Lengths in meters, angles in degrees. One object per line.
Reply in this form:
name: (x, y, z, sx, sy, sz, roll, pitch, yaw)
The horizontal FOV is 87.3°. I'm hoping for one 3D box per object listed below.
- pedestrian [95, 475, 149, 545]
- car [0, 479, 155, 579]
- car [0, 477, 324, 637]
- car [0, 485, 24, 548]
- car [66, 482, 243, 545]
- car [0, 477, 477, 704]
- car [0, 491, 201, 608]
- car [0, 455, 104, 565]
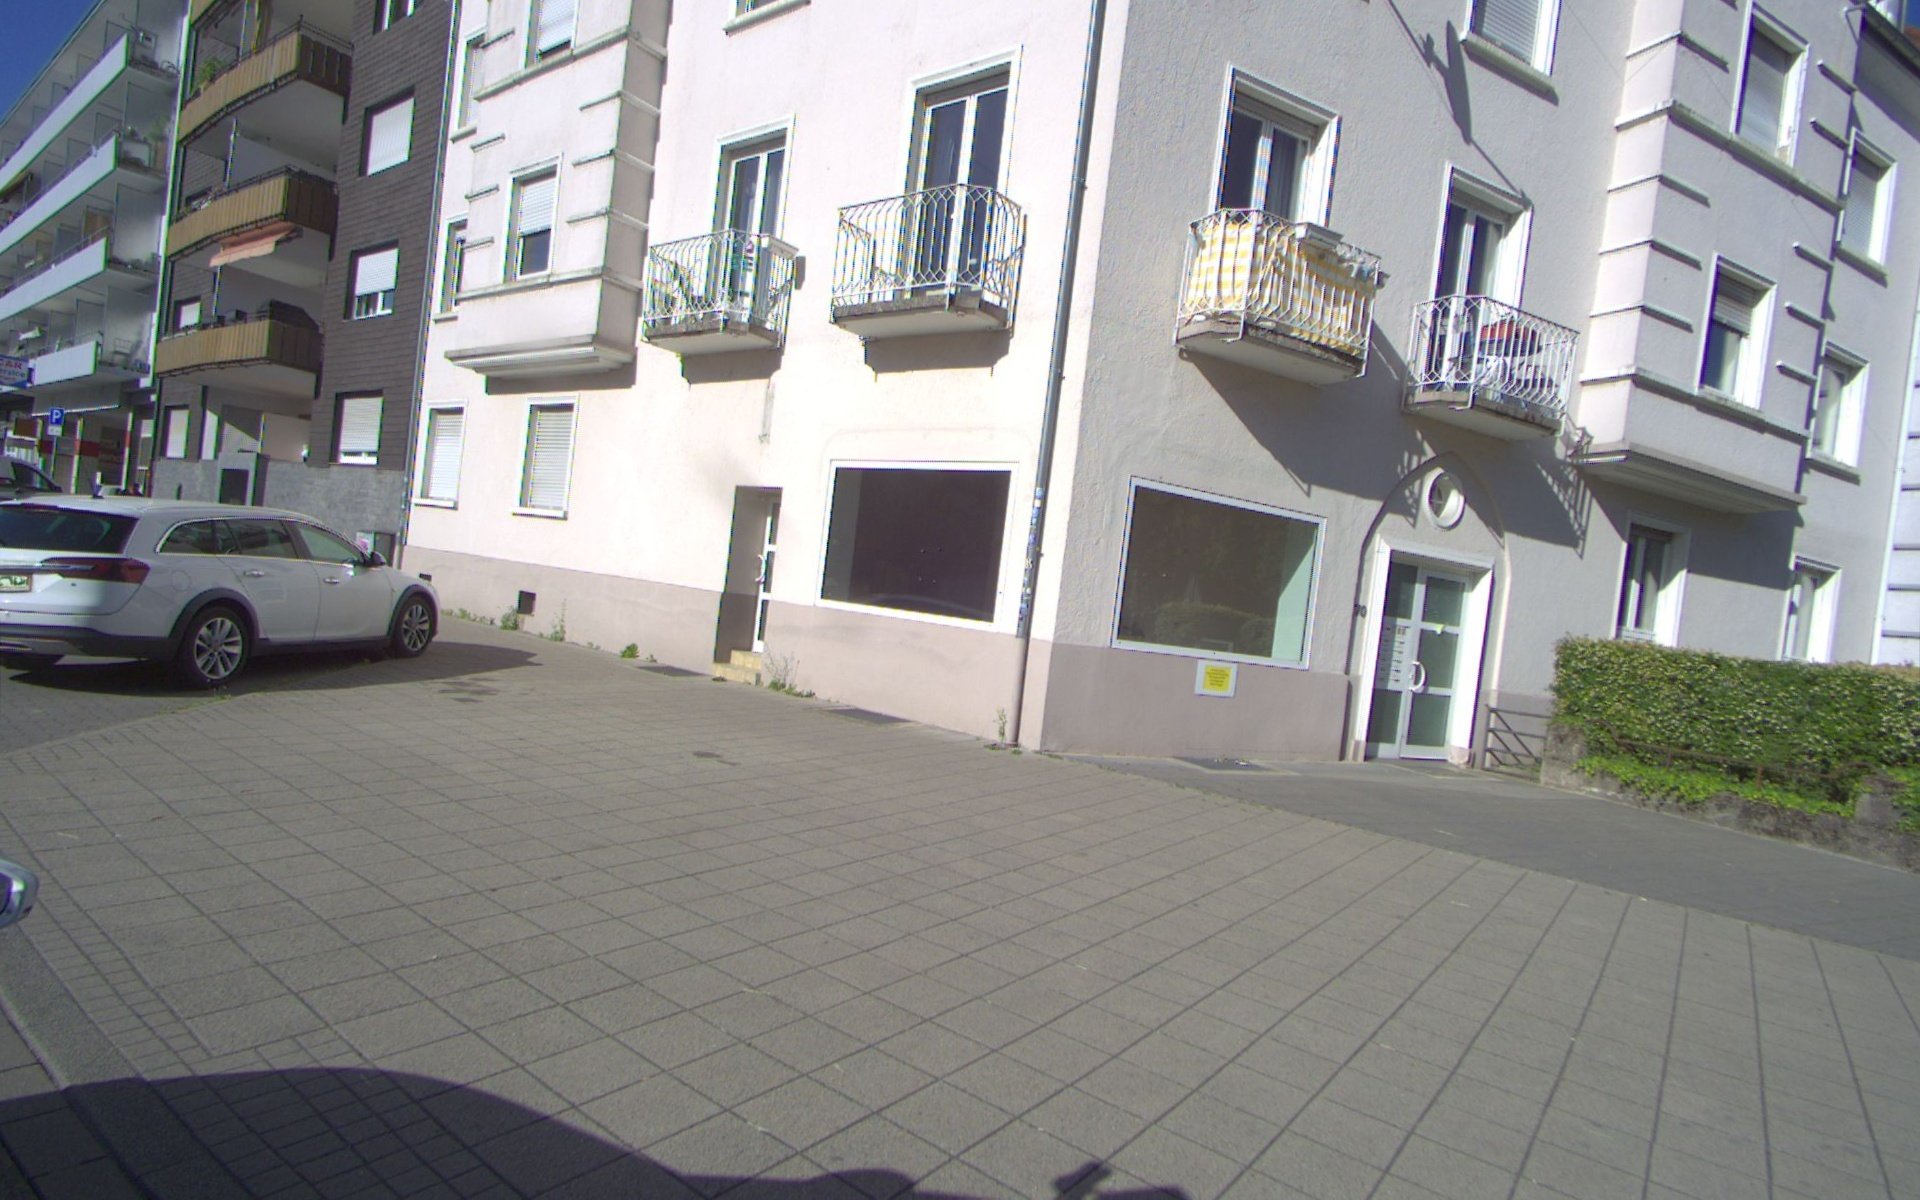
pedestrian: (-20.901, -2.238, 25.088, 0.877, 1.614, 0.830, 7, 2, 43)
car: (-15.314, -1.153, 15.938, 1.585, 1.509, 3.995, 5, 2, 6)
car: (-9.775, -0.443, 11.711, 1.788, 1.515, 4.173, 5, -1, 4)
car: (-23.706, -2.092, 22.346, 1.660, 1.484, 4.643, 6, 0, -4)
car: (-27.708, -2.957, 34.723, 1.950, 1.531, 4.388, 6, 0, 37)
car: (-6.918, -0.190, 9.594, 1.936, 1.483, 4.869, 7, 2, 3)
car: (-12.400, -0.685, 13.684, 1.512, 1.405, 3.396, 7, -1, -2)
car: (-18.080, -1.681, 17.825, 2.012, 1.923, 4.525, 4, 1, -3)
